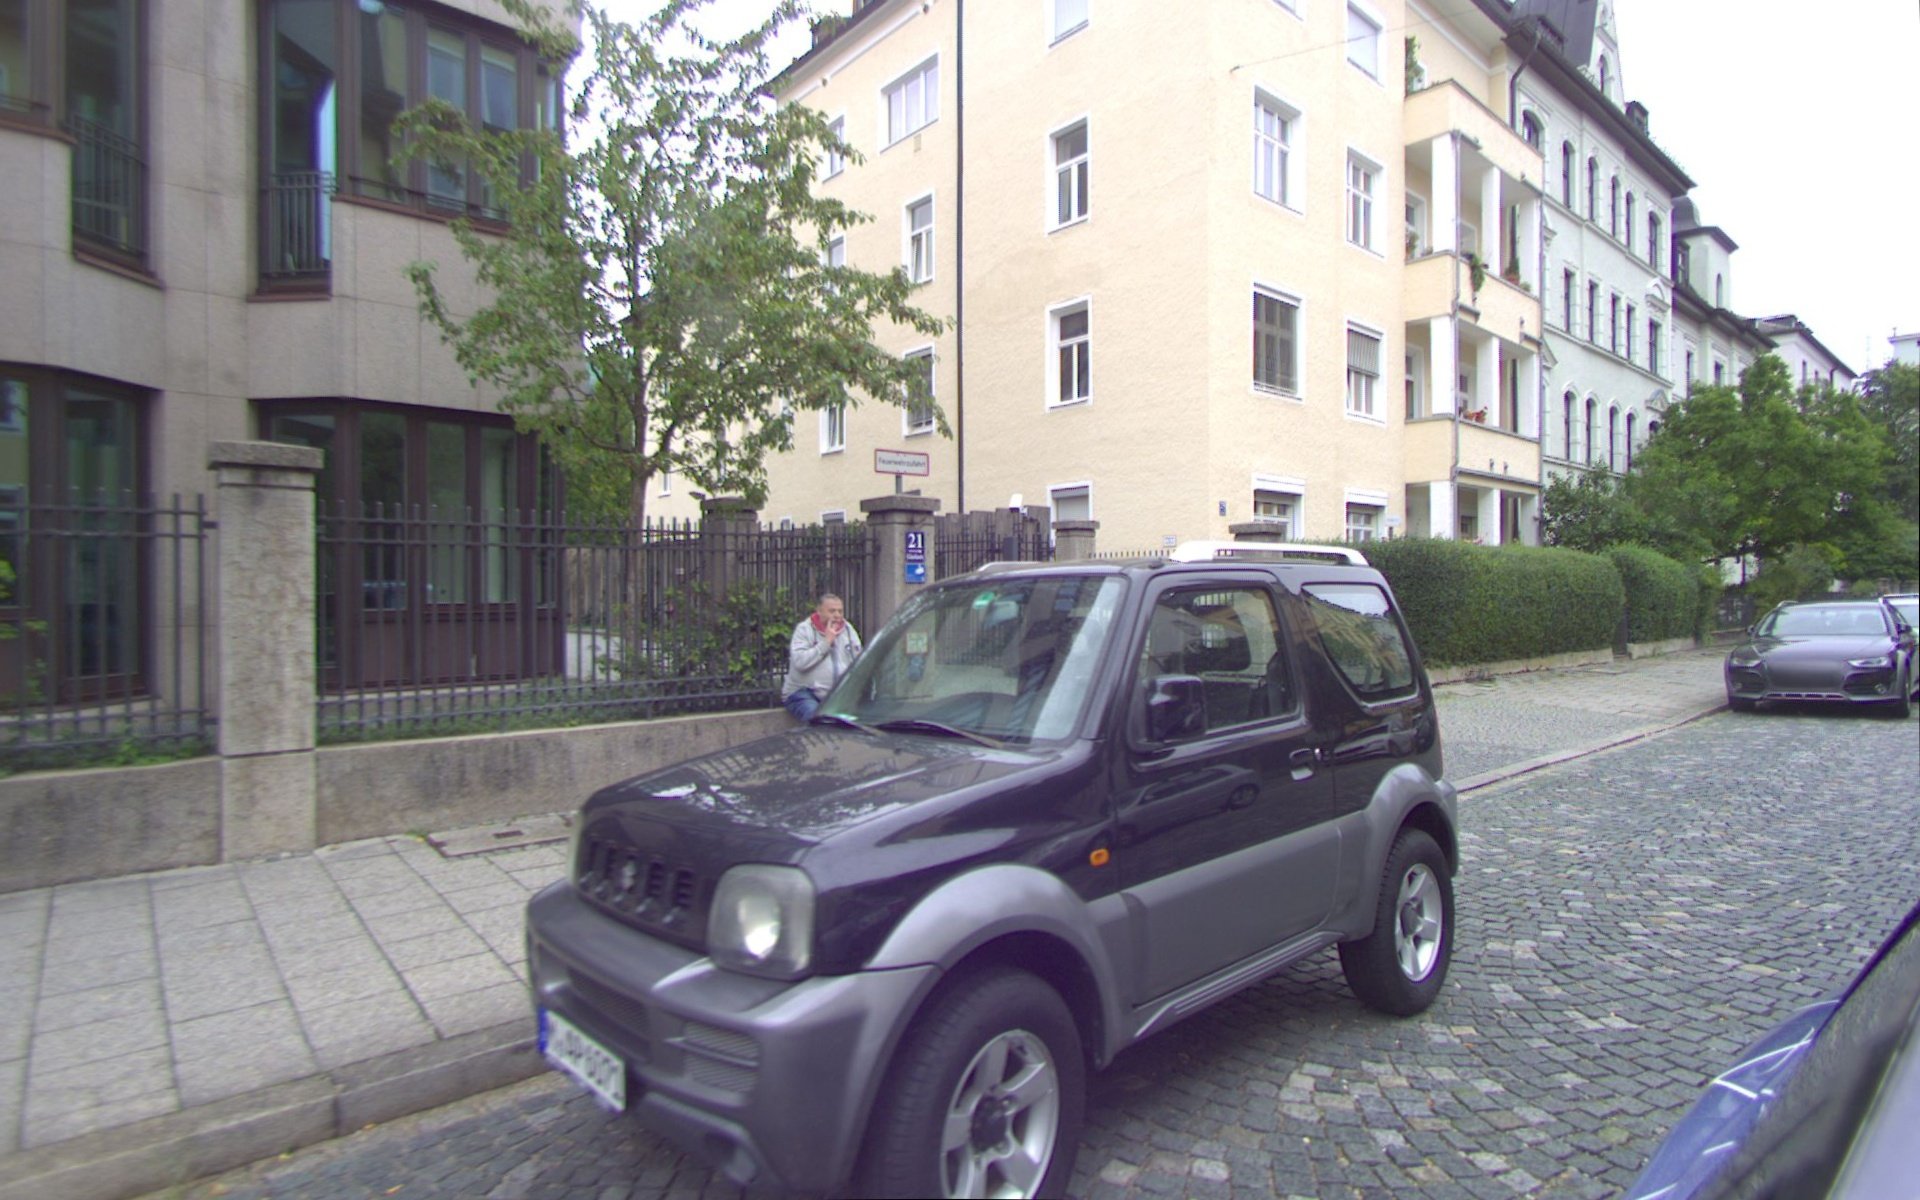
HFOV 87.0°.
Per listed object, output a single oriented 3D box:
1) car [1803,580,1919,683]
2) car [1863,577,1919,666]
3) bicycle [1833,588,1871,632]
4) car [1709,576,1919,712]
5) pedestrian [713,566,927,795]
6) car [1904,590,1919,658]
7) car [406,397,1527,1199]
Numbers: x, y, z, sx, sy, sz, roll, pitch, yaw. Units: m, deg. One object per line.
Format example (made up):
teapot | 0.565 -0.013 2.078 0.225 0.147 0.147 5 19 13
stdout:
car | 16.282 0.469 17.305 4.898 1.572 1.997 -1 -1 -40
car | 19.928 0.378 20.508 4.219 1.675 1.896 -1 -1 -41
bicycle | 24.974 0.271 28.360 0.578 1.210 1.628 -1 -1 35
car | 12.312 0.518 14.056 4.927 1.572 1.996 -1 -2 -41
pedestrian | -1.063 0.515 7.549 1.109 1.511 1.220 0 2 -38
car | 23.860 0.470 23.775 4.961 1.508 1.821 -1 -2 -40
car | 0.377 0.566 3.568 3.821 1.774 1.620 -1 -3 -42
